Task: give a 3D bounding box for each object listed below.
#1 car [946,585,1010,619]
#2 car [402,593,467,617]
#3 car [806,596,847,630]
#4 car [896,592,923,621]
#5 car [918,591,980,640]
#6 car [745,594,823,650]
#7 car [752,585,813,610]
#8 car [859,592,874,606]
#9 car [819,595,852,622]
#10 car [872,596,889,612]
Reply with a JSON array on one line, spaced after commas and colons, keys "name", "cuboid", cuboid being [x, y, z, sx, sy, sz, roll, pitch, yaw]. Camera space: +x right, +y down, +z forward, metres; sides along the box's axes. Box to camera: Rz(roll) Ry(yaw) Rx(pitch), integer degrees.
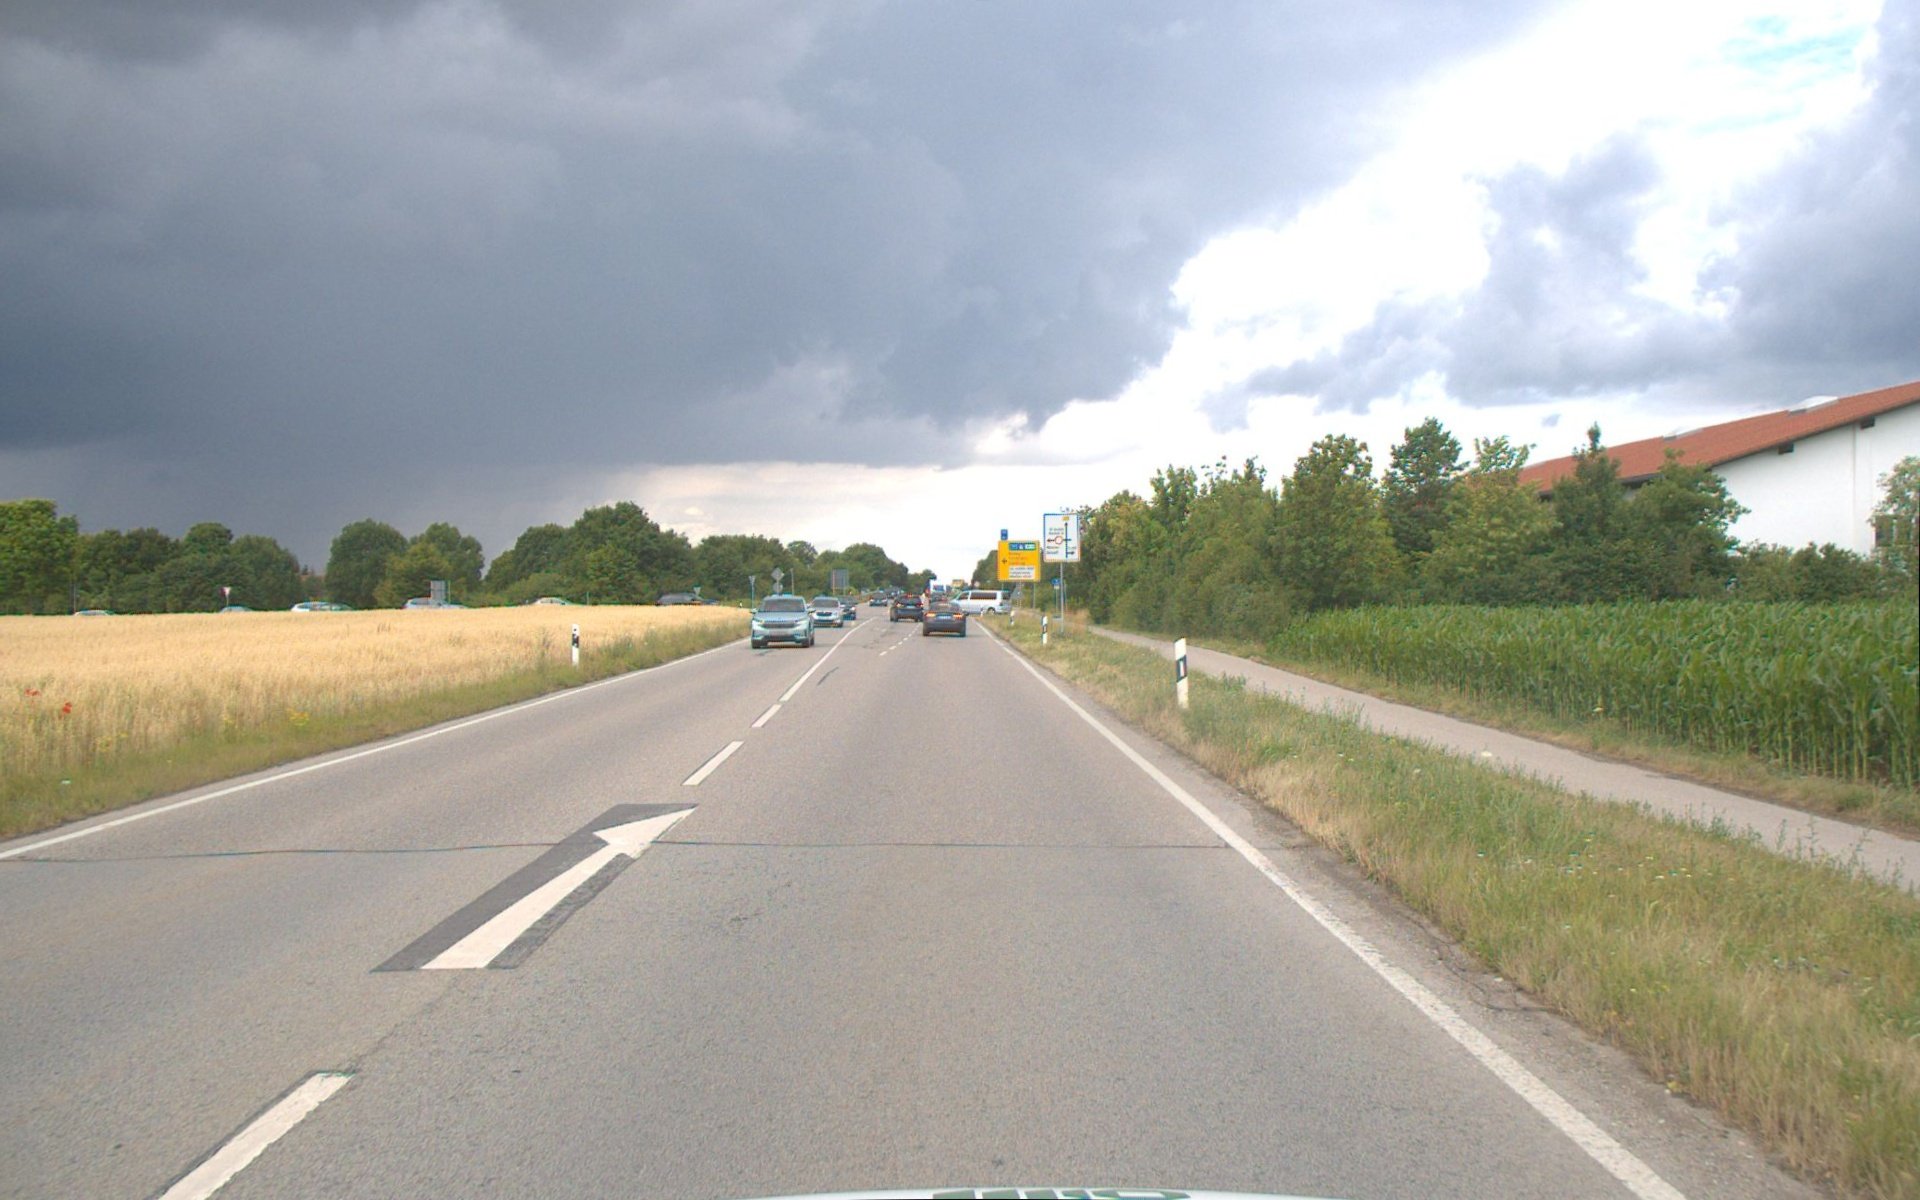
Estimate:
[{"name": "car", "cuboid": [1.342, 0.180, 125.602, 4.740, 2.495, 2.004, -1, 0, -4]}, {"name": "car", "cuboid": [-37.901, 0.329, 119.314, 3.986, 1.678, 1.867, -1, 0, 3]}, {"name": "car", "cuboid": [-6.755, 0.627, 83.817, 1.731, 1.629, 4.929, -1, 0, -1]}, {"name": "car", "cuboid": [-3.059, 0.381, 100.144, 1.539, 1.731, 3.999, -1, 0, -1]}, {"name": "car", "cuboid": [-0.494, 0.639, 69.527, 2.325, 1.913, 4.475, -2, 0, -3]}, {"name": "car", "cuboid": [-5.557, 0.666, 52.791, 2.023, 1.608, 4.764, -2, 0, -1]}, {"name": "car", "cuboid": [-12.713, -0.188, 118.692, 4.327, 1.678, 1.500, -1, 0, -6]}, {"name": "car", "cuboid": [-11.348, -0.087, 200.450, 1.612, 1.618, 3.999, -1, 0, -1]}, {"name": "car", "cuboid": [-7.840, 0.508, 104.697, 1.816, 1.658, 3.999, -1, 0, -1]}, {"name": "car", "cuboid": [-8.134, 0.405, 168.980, 1.612, 1.618, 3.999, -1, 0, -1]}]
